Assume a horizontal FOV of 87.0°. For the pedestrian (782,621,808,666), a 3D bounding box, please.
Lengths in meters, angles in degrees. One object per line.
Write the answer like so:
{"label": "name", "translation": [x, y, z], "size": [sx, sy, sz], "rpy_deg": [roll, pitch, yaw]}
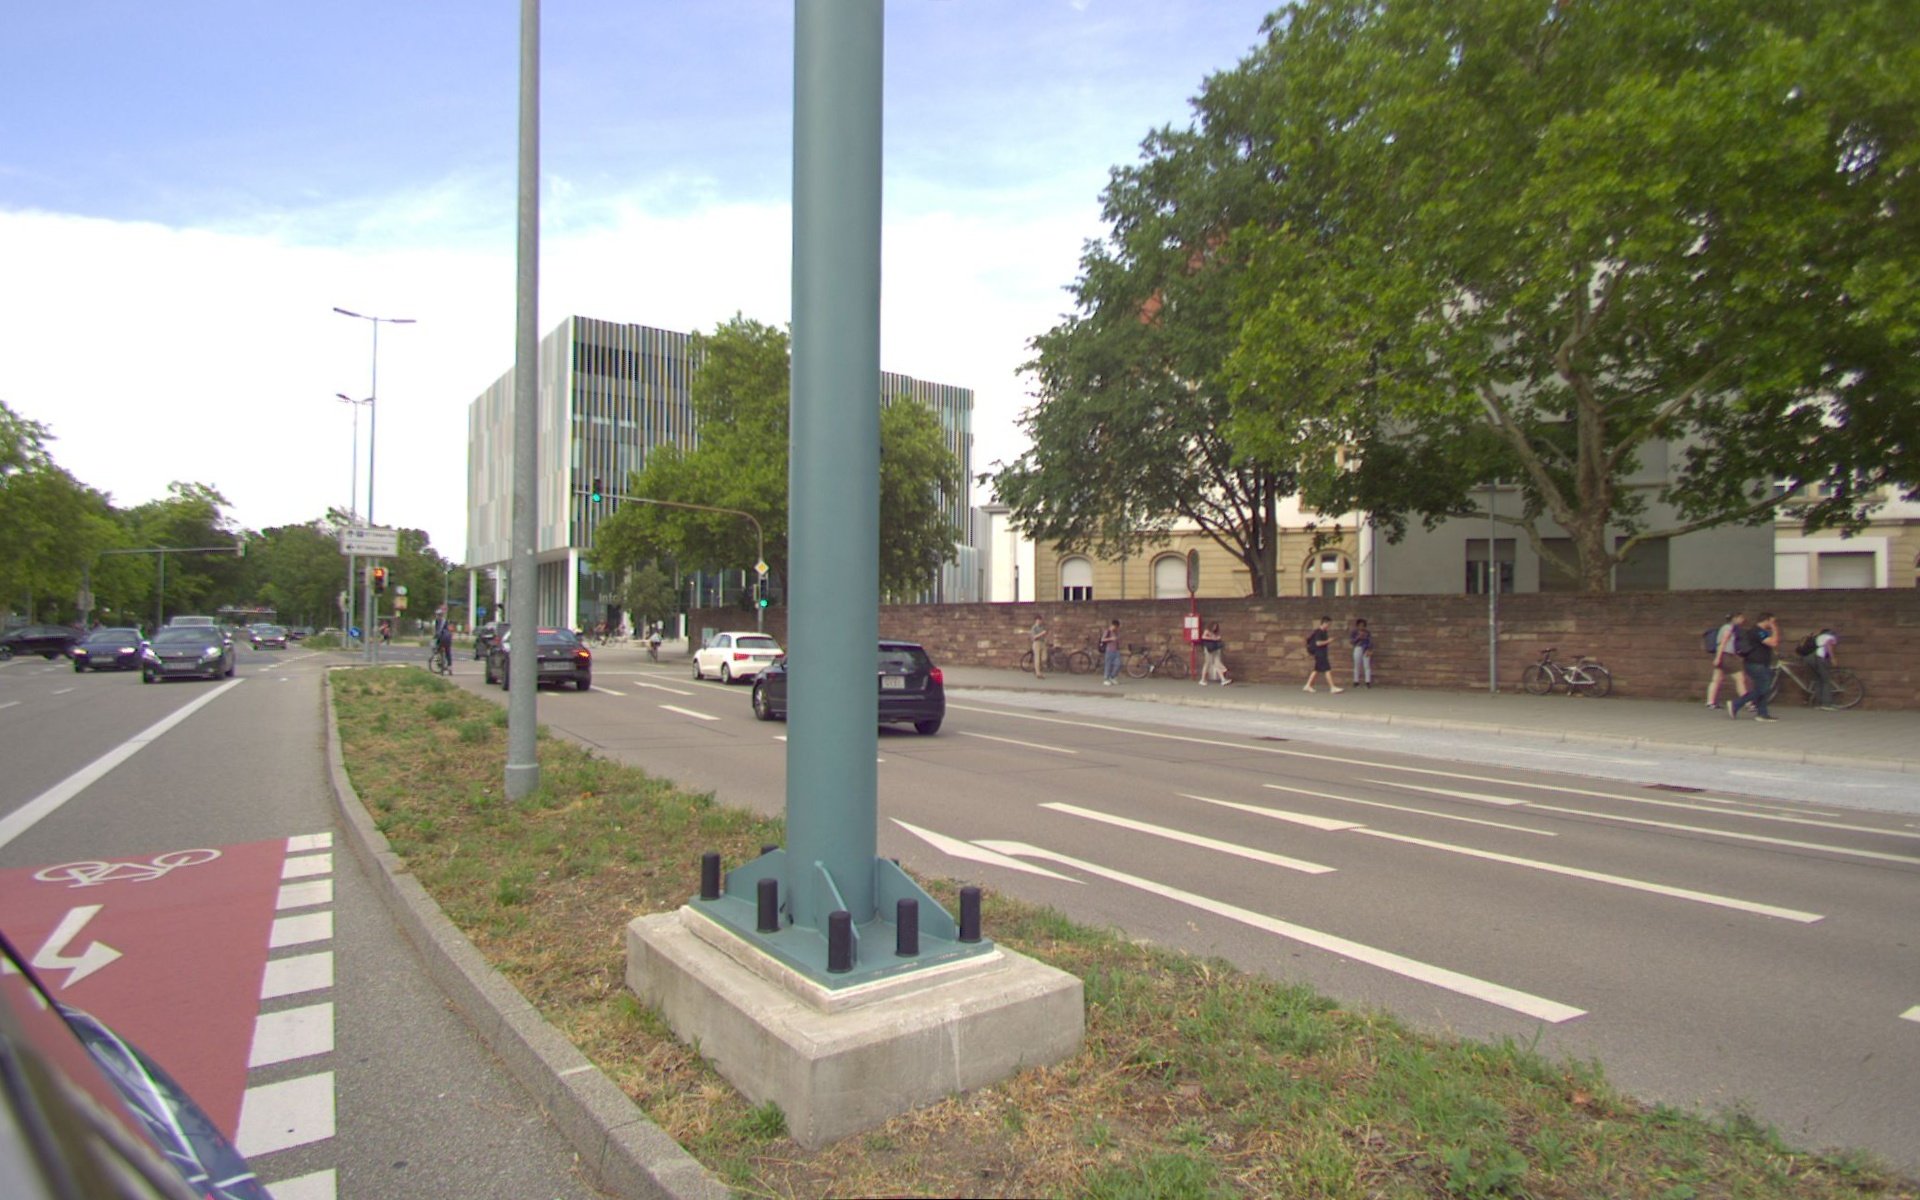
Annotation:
{"label": "pedestrian", "translation": [-6.838, 1.786, 41.916], "size": [0.779, 1.796, 0.741], "rpy_deg": [1, -1, 23]}

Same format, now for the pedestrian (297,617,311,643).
{"label": "pedestrian", "translation": [-46.819, 2.143, 72.203], "size": [0.716, 1.867, 1.067], "rpy_deg": [1, -2, -38]}

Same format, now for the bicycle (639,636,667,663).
{"label": "bicycle", "translation": [-13.724, 2.213, 45.207], "size": [0.574, 1.179, 1.969], "rpy_deg": [2, -2, -36]}

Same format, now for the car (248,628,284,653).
{"label": "car", "translation": [-43.404, 2.502, 63.252], "size": [1.635, 1.475, 4.008], "rpy_deg": [-1, -1, -37]}

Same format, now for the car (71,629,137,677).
{"label": "car", "translation": [-29.269, 1.781, 34.579], "size": [1.636, 1.475, 4.005], "rpy_deg": [-1, -1, -41]}

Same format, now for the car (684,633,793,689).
{"label": "car", "translation": [-6.191, 1.647, 28.000], "size": [1.647, 1.400, 3.933], "rpy_deg": [4, -3, -32]}

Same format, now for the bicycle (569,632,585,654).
{"label": "bicycle", "translation": [-22.225, 2.483, 58.726], "size": [0.610, 1.226, 2.051], "rpy_deg": [1, -2, -28]}

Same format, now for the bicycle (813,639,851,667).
{"label": "bicycle", "translation": [-5.145, 2.101, 40.606], "size": [0.541, 1.066, 1.984], "rpy_deg": [-2, 0, -39]}

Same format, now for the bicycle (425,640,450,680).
{"label": "bicycle", "translation": [-14.474, 1.648, 28.021], "size": [0.565, 1.063, 1.932], "rpy_deg": [1, -2, -29]}

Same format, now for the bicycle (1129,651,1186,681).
{"label": "bicycle", "translation": [5.559, 1.842, 28.566], "size": [0.435, 0.803, 1.623], "rpy_deg": [-1, -2, -42]}

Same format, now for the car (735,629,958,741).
{"label": "car", "translation": [-1.935, 1.237, 15.972], "size": [1.730, 1.500, 4.389], "rpy_deg": [3, -3, -32]}

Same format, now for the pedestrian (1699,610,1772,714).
{"label": "pedestrian", "translation": [13.872, 1.087, 18.131], "size": [0.911, 1.796, 0.754], "rpy_deg": [1, -1, 29]}

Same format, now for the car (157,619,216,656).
{"label": "car", "translation": [-38.633, 1.856, 50.655], "size": [1.966, 1.785, 4.011], "rpy_deg": [2, -2, -32]}

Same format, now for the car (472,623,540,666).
{"label": "car", "translation": [-19.152, 1.845, 42.600], "size": [1.777, 1.678, 4.311], "rpy_deg": [4, -3, -34]}

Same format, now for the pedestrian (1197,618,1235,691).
{"label": "pedestrian", "translation": [6.493, 1.350, 25.640], "size": [0.779, 1.796, 0.754], "rpy_deg": [1, -1, 26]}

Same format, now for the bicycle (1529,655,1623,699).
{"label": "bicycle", "translation": [12.872, 1.591, 21.168], "size": [1.619, 0.834, 0.436], "rpy_deg": [-1, 0, 40]}

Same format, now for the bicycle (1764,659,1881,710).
{"label": "bicycle", "translation": [15.796, 1.526, 18.576], "size": [1.619, 0.834, 0.436], "rpy_deg": [-1, 0, 40]}

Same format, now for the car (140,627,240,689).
{"label": "car", "translation": [-20.426, 1.478, 26.989], "size": [1.633, 1.475, 4.012], "rpy_deg": [-1, -1, -30]}

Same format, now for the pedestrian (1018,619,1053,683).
{"label": "pedestrian", "translation": [2.168, 1.446, 29.097], "size": [0.779, 1.796, 0.741], "rpy_deg": [1, -1, 25]}

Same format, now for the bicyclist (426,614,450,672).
{"label": "bicyclist", "translation": [-14.435, 1.178, 27.976], "size": [0.564, 1.586, 0.701], "rpy_deg": [1, -2, -29]}

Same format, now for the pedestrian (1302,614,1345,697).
{"label": "pedestrian", "translation": [8.127, 1.216, 22.602], "size": [0.780, 1.796, 0.754], "rpy_deg": [1, -1, 29]}

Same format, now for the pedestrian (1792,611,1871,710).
{"label": "pedestrian", "translation": [15.470, 1.055, 17.988], "size": [0.920, 1.683, 0.754], "rpy_deg": [1, -1, 29]}

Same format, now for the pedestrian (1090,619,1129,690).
{"label": "pedestrian", "translation": [3.921, 1.413, 26.535], "size": [0.780, 1.796, 0.754], "rpy_deg": [1, -1, 27]}

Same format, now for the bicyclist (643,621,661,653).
{"label": "bicyclist", "translation": [-13.796, 1.669, 45.325], "size": [0.572, 1.430, 0.813], "rpy_deg": [1, -2, -34]}

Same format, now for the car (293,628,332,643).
{"label": "car", "translation": [-65.893, 3.623, 103.002], "size": [4.406, 1.500, 1.786], "rpy_deg": [-1, -2, 35]}

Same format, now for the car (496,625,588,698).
{"label": "car", "translation": [-9.673, 1.338, 23.299], "size": [1.776, 1.500, 4.420], "rpy_deg": [1, -2, -24]}

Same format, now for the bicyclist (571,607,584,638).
{"label": "bicyclist", "translation": [-22.184, 1.329, 58.697], "size": [0.609, 1.796, 0.813], "rpy_deg": [1, -2, -28]}

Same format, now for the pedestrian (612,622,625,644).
{"label": "pedestrian", "translation": [-27.408, 2.618, 81.141], "size": [0.673, 1.753, 0.725], "rpy_deg": [-1, -2, 21]}

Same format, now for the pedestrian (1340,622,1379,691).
{"label": "pedestrian", "translation": [9.473, 1.324, 23.971], "size": [0.734, 1.604, 0.581], "rpy_deg": [1, -1, 35]}

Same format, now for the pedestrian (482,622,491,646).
{"label": "pedestrian", "translation": [-36.729, 2.614, 78.483], "size": [0.504, 1.851, 0.626], "rpy_deg": [2, -3, -36]}

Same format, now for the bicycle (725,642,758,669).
{"label": "bicycle", "translation": [-10.040, 2.533, 46.453], "size": [0.570, 1.134, 2.170], "rpy_deg": [-2, 0, -37]}

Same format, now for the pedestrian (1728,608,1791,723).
{"label": "pedestrian", "translation": [12.913, 1.042, 16.369], "size": [0.720, 1.796, 0.753], "rpy_deg": [1, -2, 33]}

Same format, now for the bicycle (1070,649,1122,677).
{"label": "bicycle", "translation": [4.058, 1.868, 30.268], "size": [0.435, 0.803, 1.623], "rpy_deg": [-1, -2, -42]}

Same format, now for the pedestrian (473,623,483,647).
{"label": "pedestrian", "translation": [-37.199, 2.717, 78.111], "size": [0.504, 1.851, 0.774], "rpy_deg": [2, -3, -36]}

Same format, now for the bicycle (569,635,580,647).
{"label": "bicycle", "translation": [-33.177, 3.505, 87.187], "size": [0.388, 0.944, 1.599], "rpy_deg": [-1, -1, -3]}
